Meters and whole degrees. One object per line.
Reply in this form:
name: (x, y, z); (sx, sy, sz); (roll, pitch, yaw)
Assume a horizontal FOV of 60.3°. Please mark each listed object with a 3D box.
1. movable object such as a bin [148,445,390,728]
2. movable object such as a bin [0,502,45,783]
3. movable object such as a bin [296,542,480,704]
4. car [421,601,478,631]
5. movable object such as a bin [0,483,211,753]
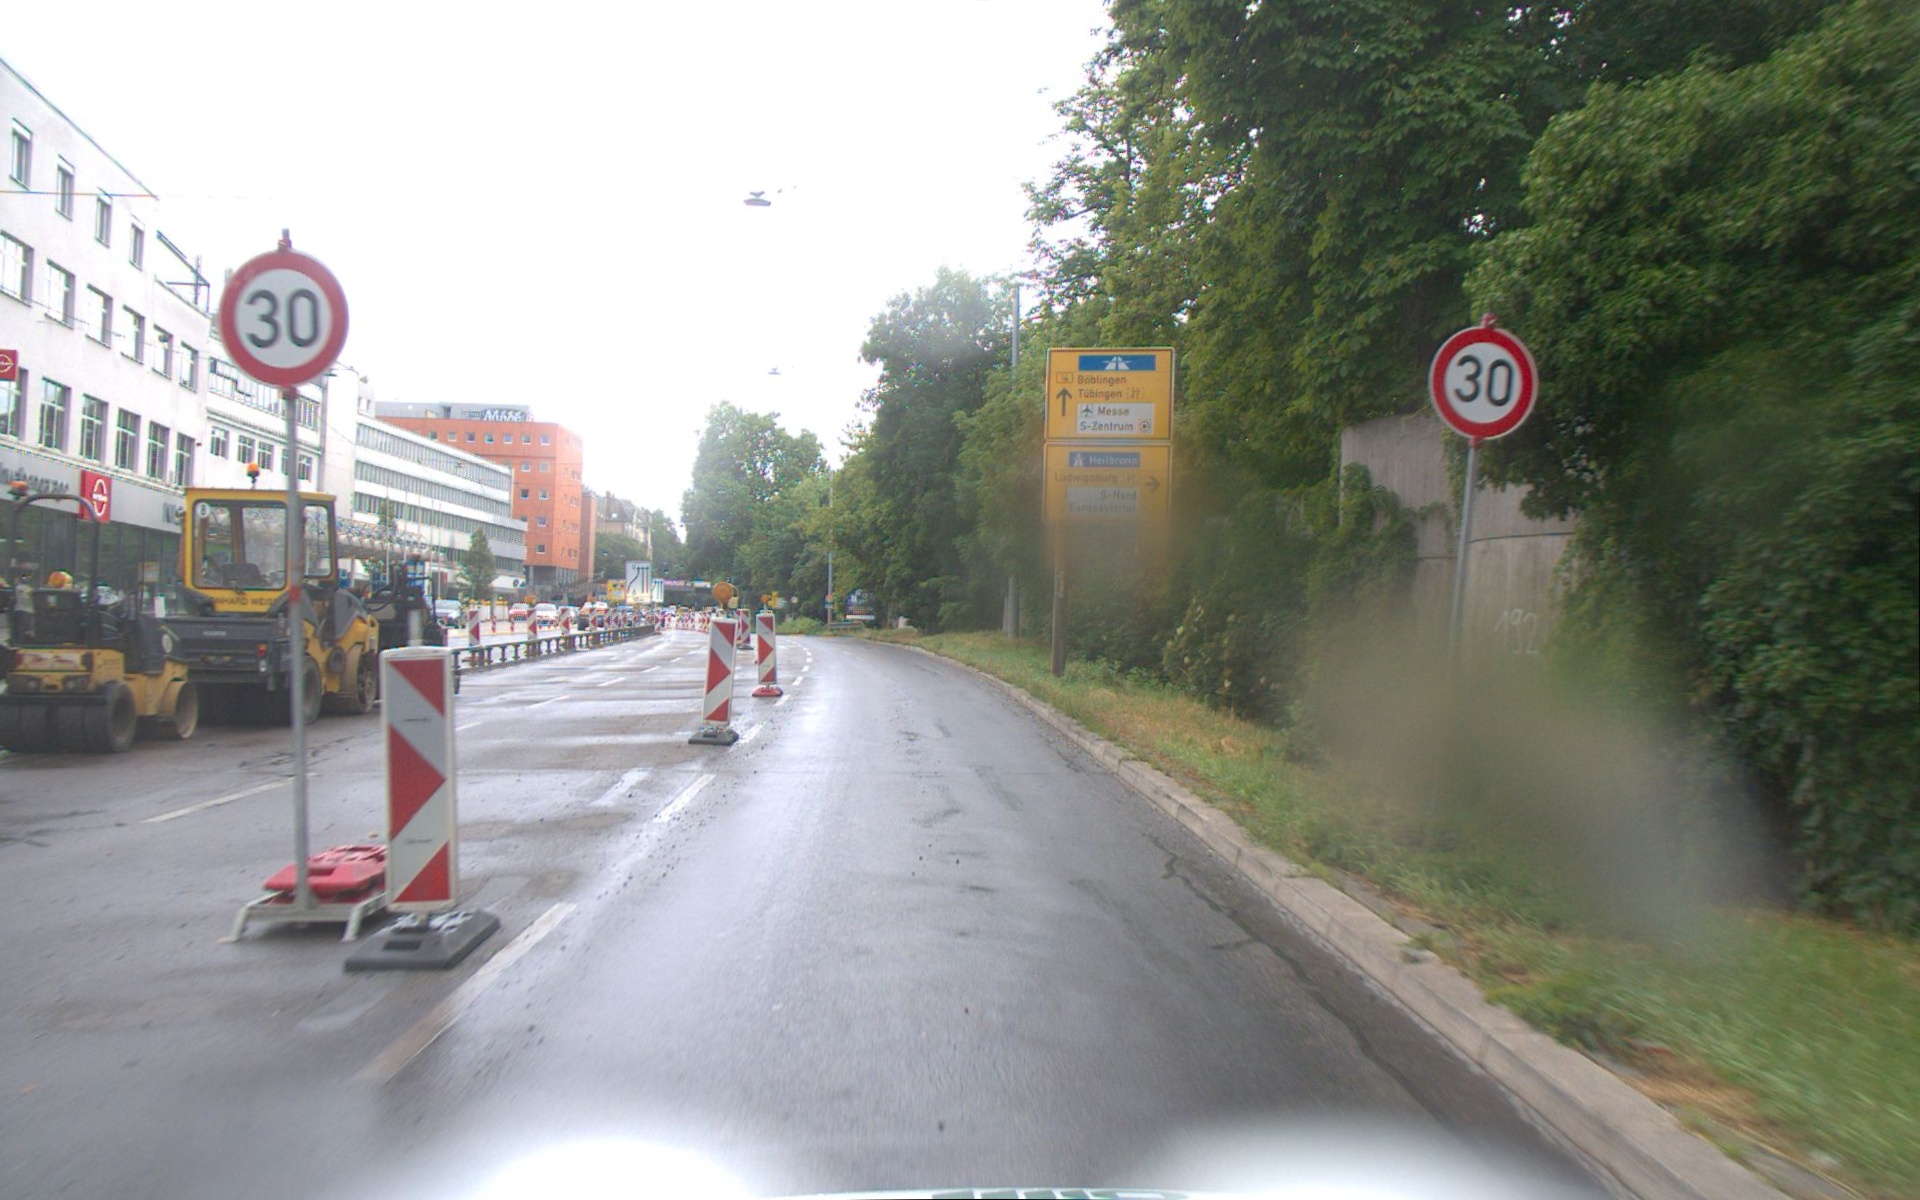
movable object such as a bin: (-8.123, -0.147, 19.777); (1.436, 3.061, 3.722); (0, 0, -2)
movable object such as a bin: (-7.916, 0.299, 10.553); (1.335, 2.126, 5.029); (2, 0, -1)
movable object such as a bin: (-8.184, 0.313, 23.947); (1.681, 2.187, 3.347); (0, 0, -4)
car: (-25.848, 0.828, 83.840); (1.727, 1.430, 4.247); (1, -1, -3)
movable object such as a bin: (-8.510, 0.168, 16.172); (1.382, 2.443, 2.404); (0, 0, -4)
